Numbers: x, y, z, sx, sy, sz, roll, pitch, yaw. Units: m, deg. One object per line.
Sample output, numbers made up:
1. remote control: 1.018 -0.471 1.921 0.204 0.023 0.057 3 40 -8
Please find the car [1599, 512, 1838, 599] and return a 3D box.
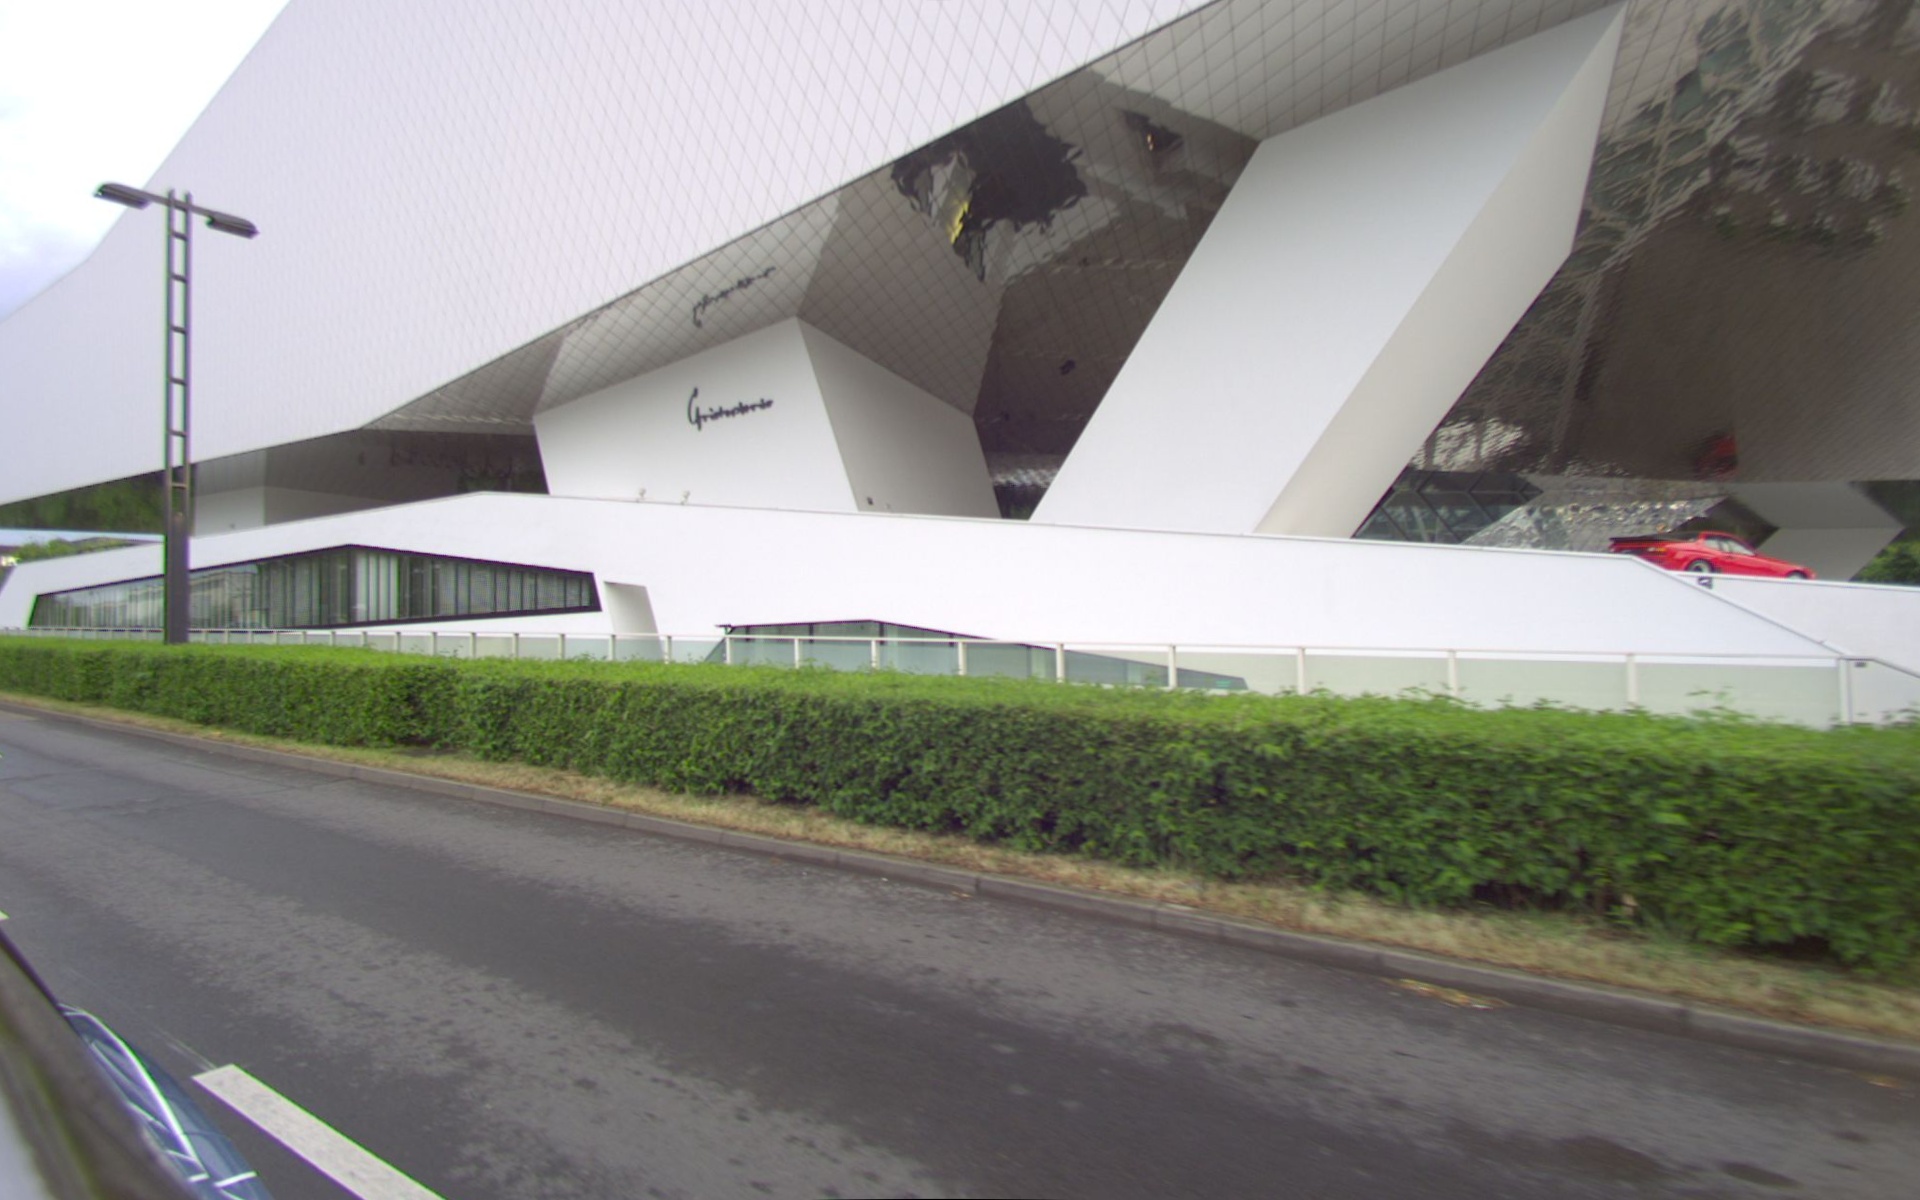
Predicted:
1. car: 16.031 -0.898 21.456 4.036 1.252 1.641 7 -3 -9
